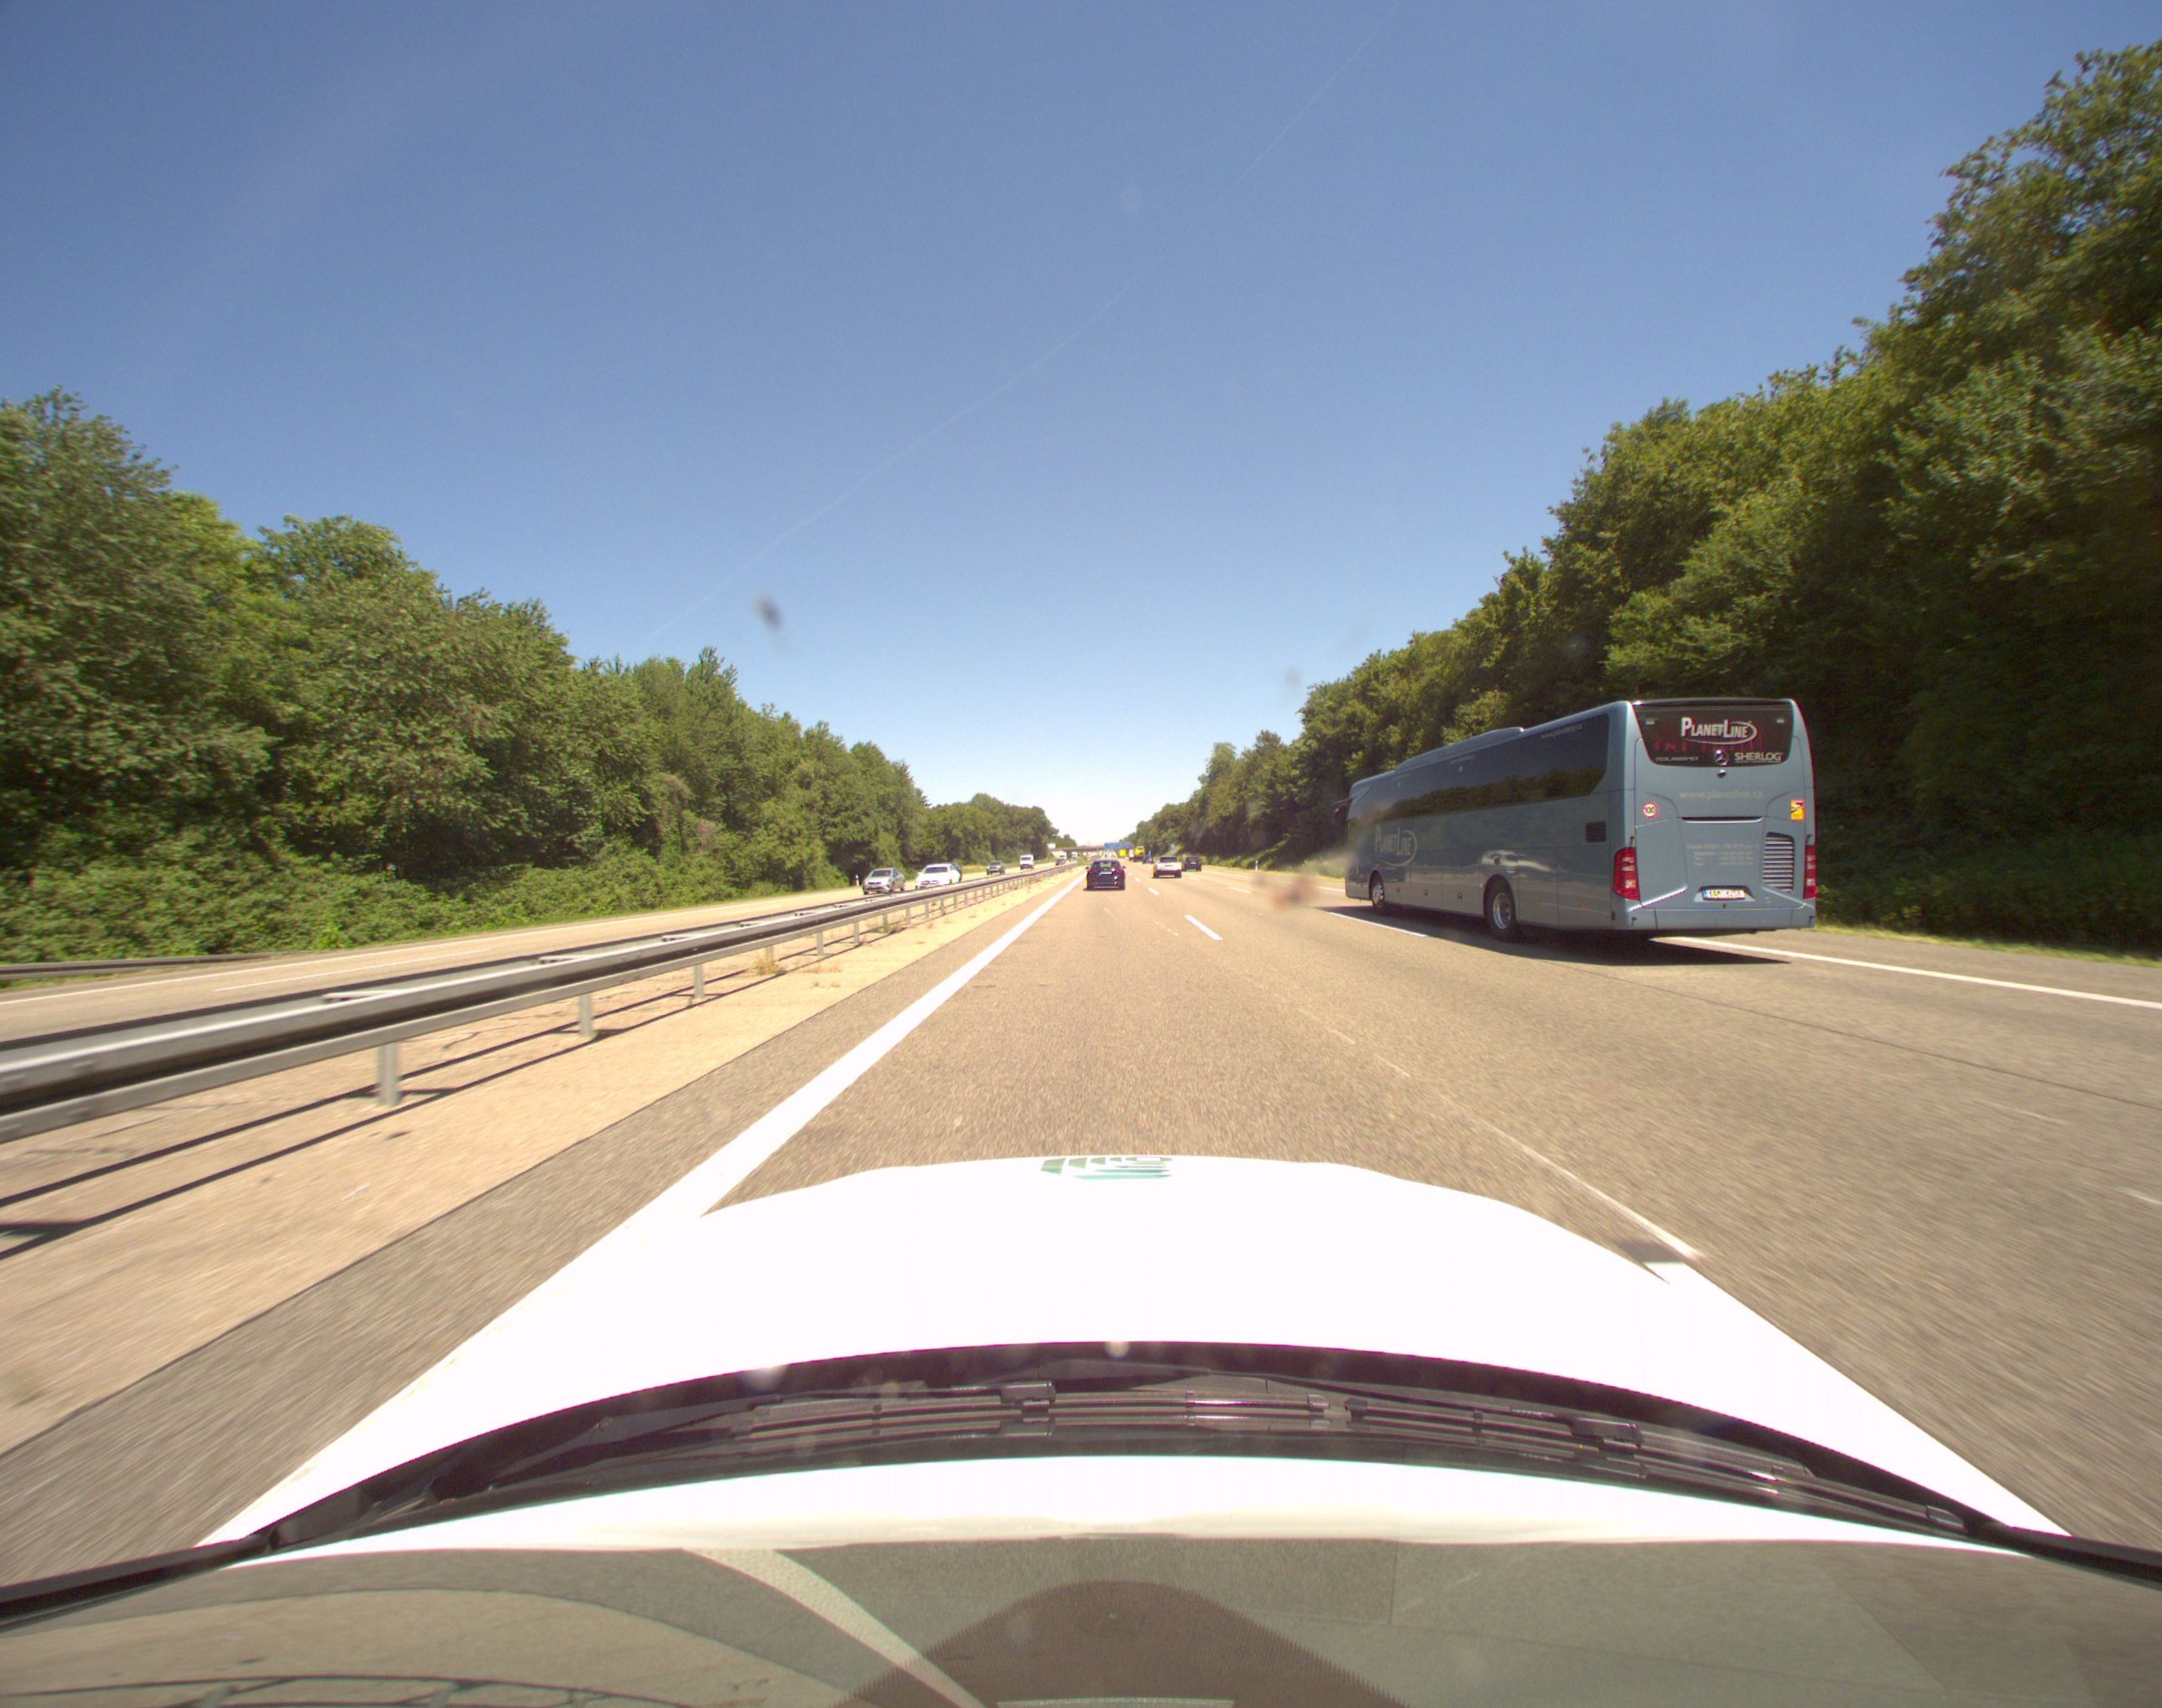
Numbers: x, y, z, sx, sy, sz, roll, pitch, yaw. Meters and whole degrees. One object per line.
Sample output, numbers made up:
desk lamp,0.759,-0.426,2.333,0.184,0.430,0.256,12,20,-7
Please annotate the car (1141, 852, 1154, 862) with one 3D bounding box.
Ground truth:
car,12.143,0.544,149.029,2.069,1.751,4.242,-2,0,1

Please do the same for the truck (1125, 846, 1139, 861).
truck,15.525,-0.110,249.574,3.635,4.590,17.248,0,0,1

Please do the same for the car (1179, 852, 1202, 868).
car,10.536,0.543,78.457,1.782,1.461,3.952,-1,0,3

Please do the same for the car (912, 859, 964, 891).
car,-7.584,1.092,43.564,1.814,1.523,4.824,-2,0,1

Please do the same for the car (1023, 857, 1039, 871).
car,-8.306,1.636,135.690,2.080,2.288,5.277,-2,0,1

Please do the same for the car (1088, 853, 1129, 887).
car,1.251,0.701,38.507,1.793,1.502,4.242,-1,0,1

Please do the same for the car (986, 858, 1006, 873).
car,-10.349,1.381,99.552,1.814,1.630,4.798,-2,0,1

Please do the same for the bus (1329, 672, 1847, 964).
bus,8.213,-0.433,16.385,2.792,3.596,12.475,-1,0,1

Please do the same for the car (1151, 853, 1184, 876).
car,6.044,0.717,57.288,1.893,1.532,4.242,-1,0,1

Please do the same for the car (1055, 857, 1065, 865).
car,-4.204,1.403,165.603,1.799,1.480,4.568,-2,0,1

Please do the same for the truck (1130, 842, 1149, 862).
truck,13.974,-0.516,196.599,3.635,4.590,15.767,0,0,1

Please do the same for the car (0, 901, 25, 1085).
car,-9.208,1.105,4.120,1.832,1.383,4.429,-3,0,2

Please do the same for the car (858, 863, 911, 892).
car,-11.540,1.359,48.108,1.814,1.523,4.824,-2,0,1
